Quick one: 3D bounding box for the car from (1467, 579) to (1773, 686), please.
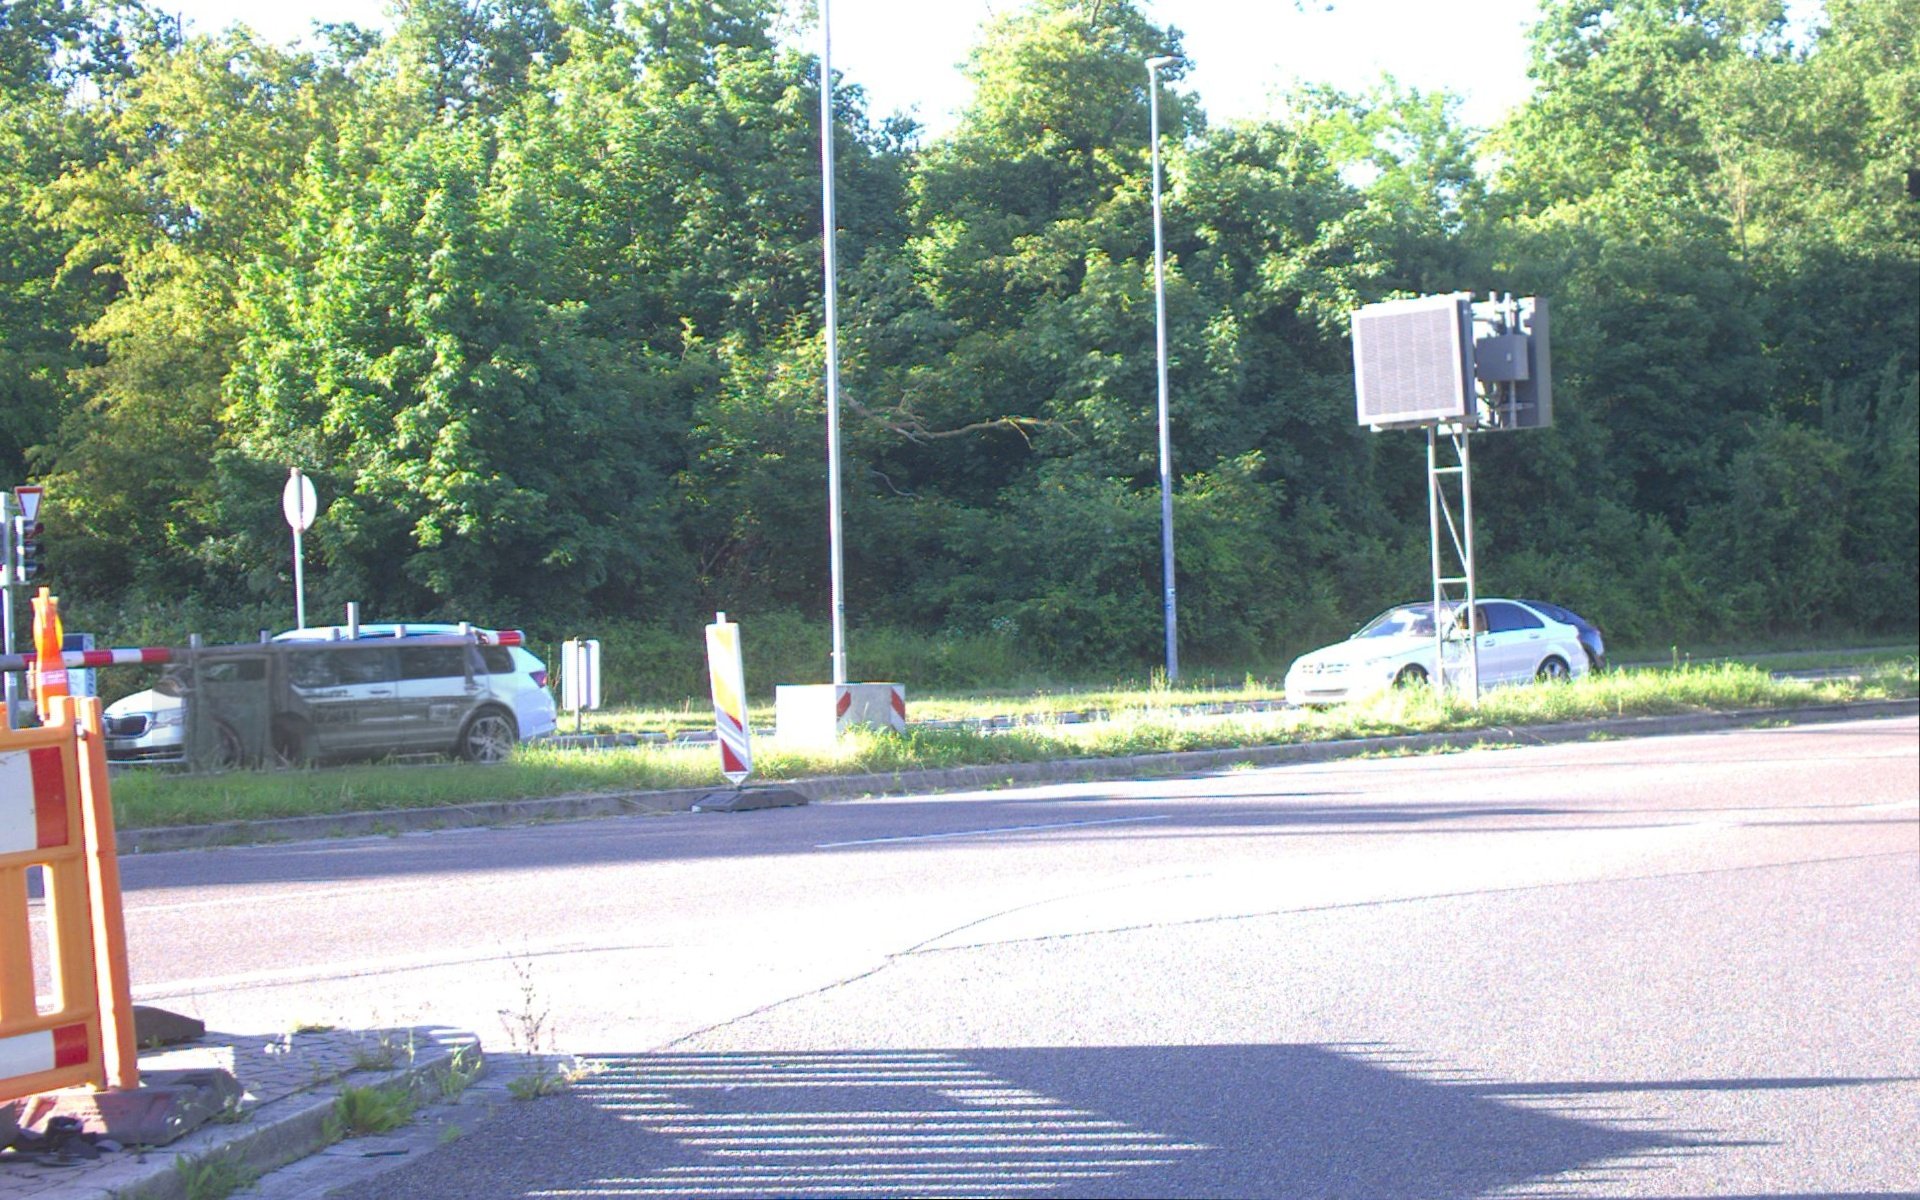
[{"bbox_3d":[9.929,0.468,51.531,4.794,1.431,1.999,-2,0,-42],"label":"car"}]

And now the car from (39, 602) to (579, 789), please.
[{"bbox_3d":[-6.274,0.886,33.523,4.820,1.575,1.999,-2,0,-43],"label":"car"}]

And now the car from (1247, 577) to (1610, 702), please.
[{"bbox_3d":[6.107,0.492,44.458,4.794,1.431,1.999,-2,0,-42],"label":"car"}]
